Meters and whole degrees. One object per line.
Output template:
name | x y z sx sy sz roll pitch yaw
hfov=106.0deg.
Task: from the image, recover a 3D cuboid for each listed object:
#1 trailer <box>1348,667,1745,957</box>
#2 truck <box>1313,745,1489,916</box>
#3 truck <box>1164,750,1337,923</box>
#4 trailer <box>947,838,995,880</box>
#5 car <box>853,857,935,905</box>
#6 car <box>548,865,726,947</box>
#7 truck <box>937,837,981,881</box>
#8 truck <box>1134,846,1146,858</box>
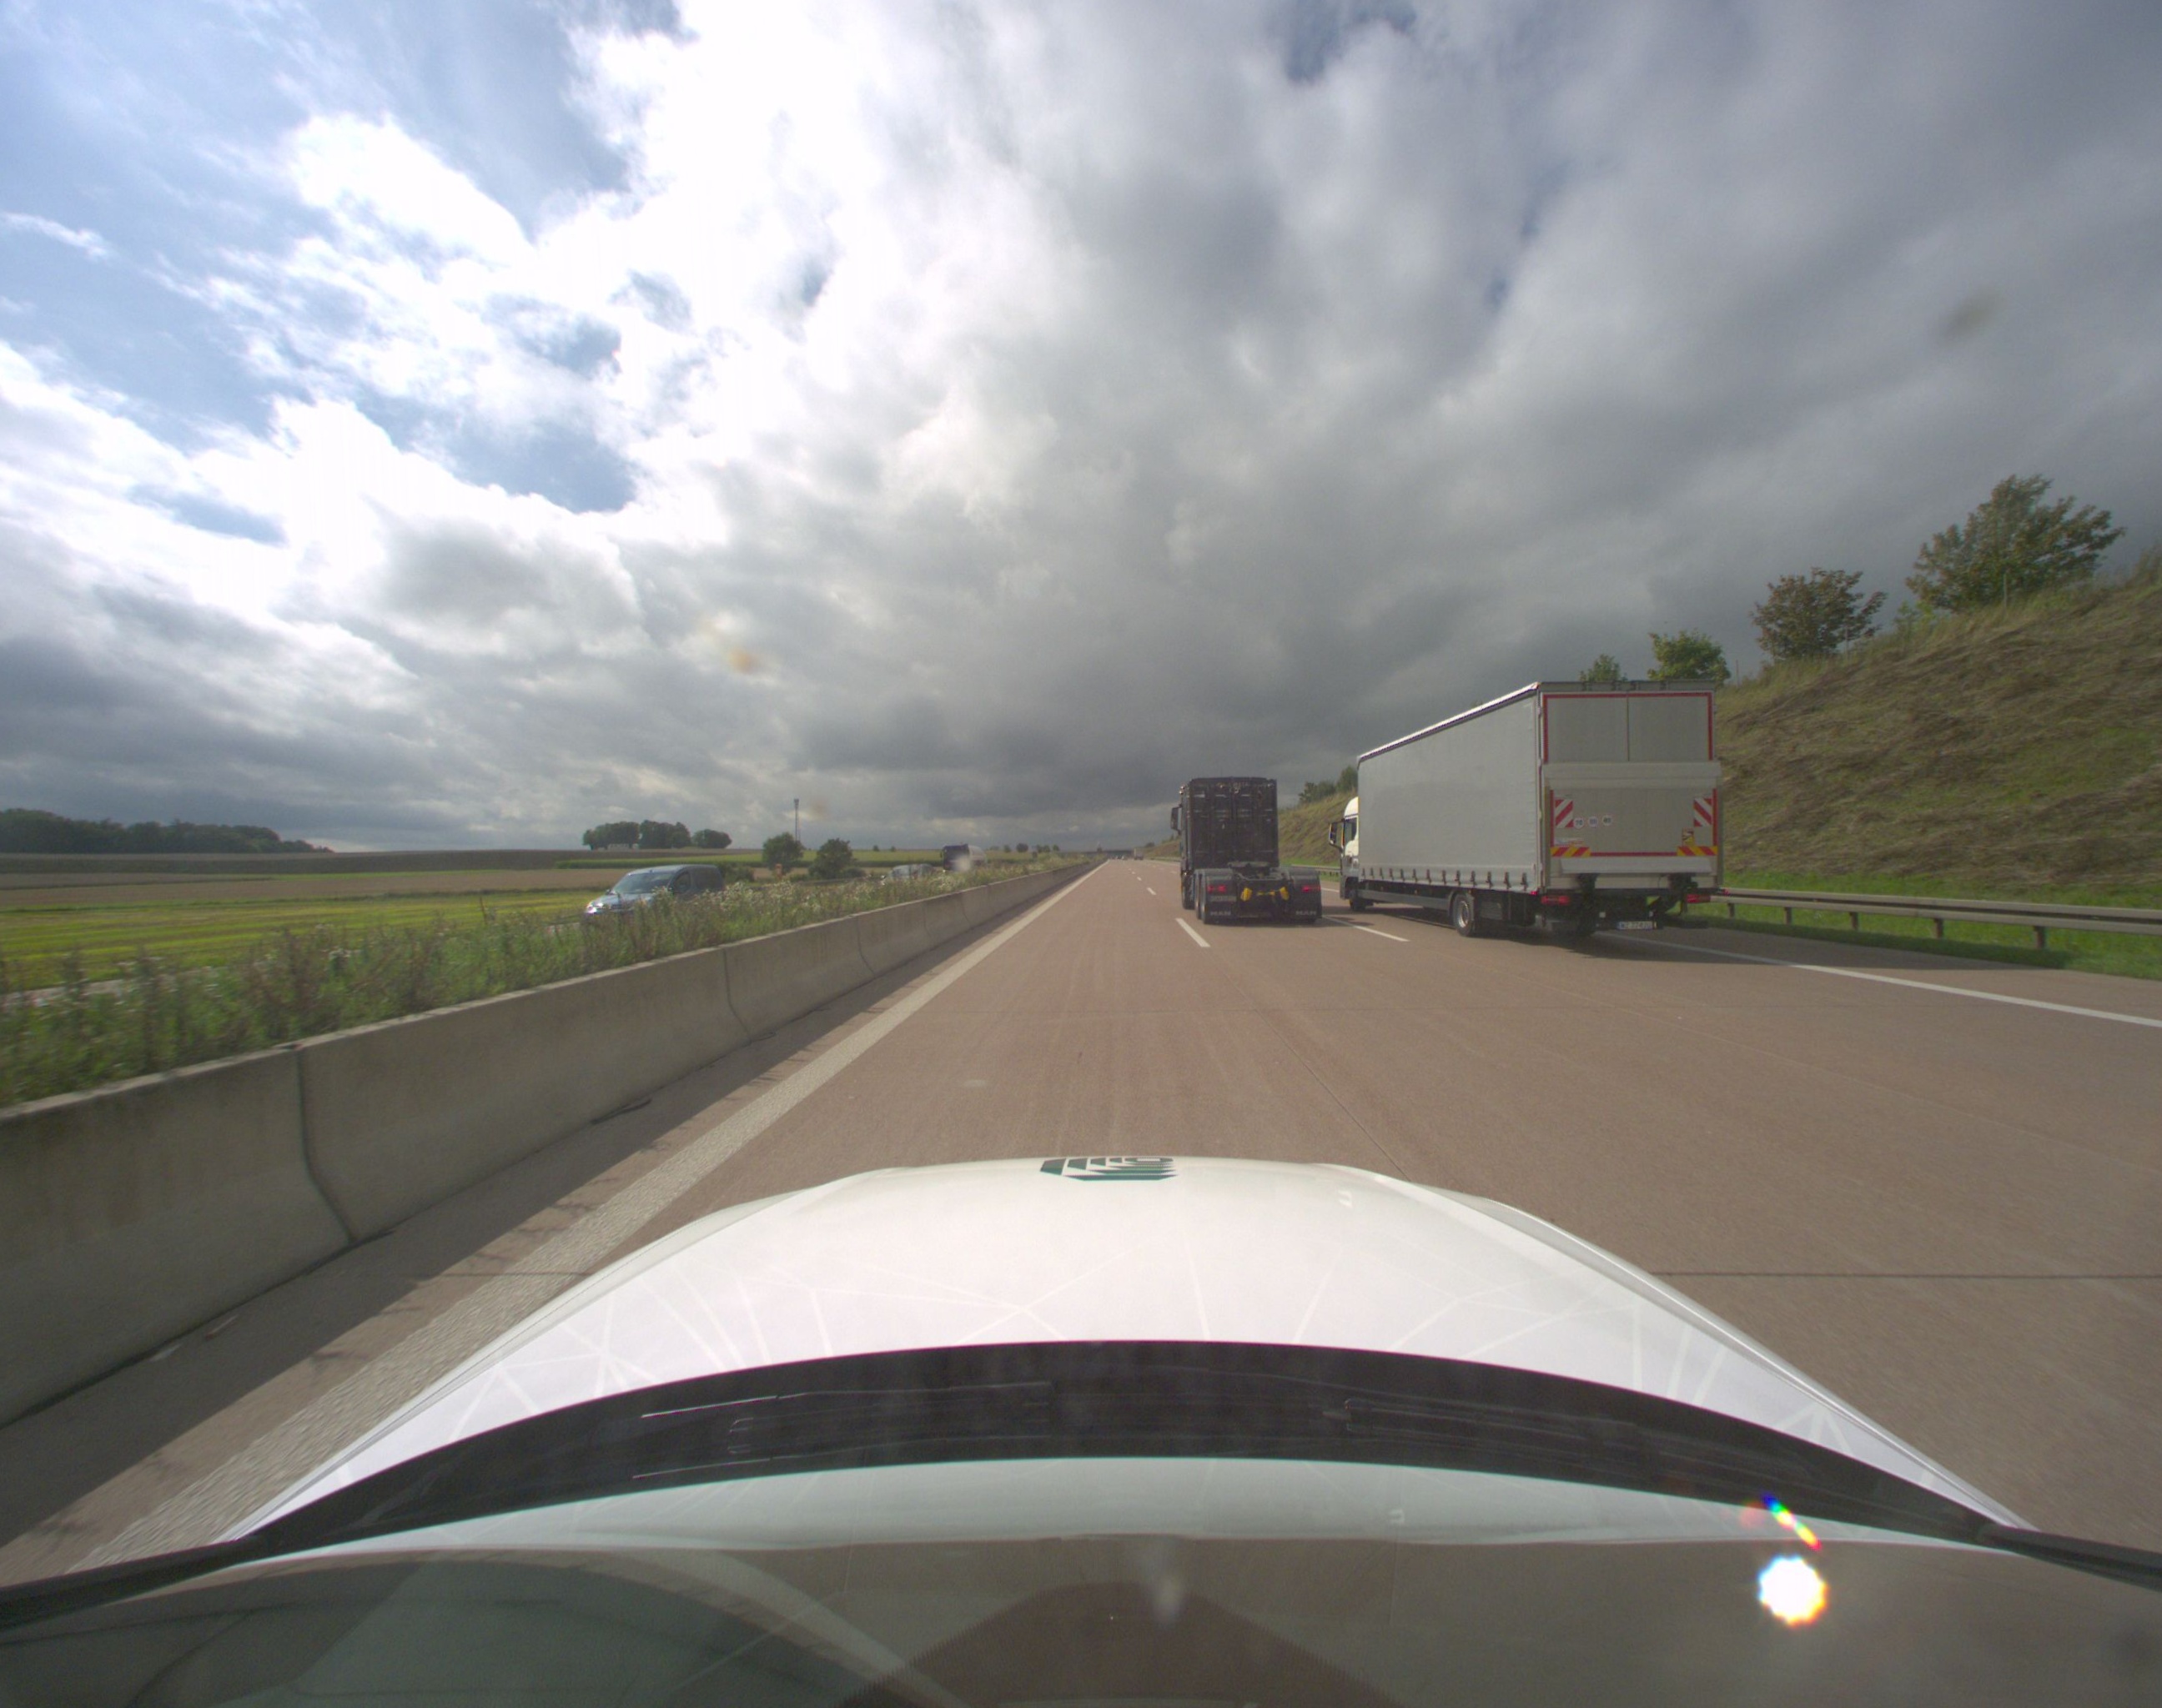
trailer | 7.878 -0.563 15.635 2.738 4.012 8.671 0 0 1
truck | 7.949 -0.529 20.871 2.739 3.892 4.546 0 -1 0
truck | 3.913 -0.332 20.917 2.837 3.550 8.320 0 0 1
trailer | -11.854 0.491 88.767 2.879 4.098 11.046 -3 0 3
car | -7.363 1.009 32.540 1.986 1.699 4.600 -3 0 2
car | -10.996 1.220 20.603 1.986 1.699 4.258 -3 0 2
truck | -12.229 0.512 82.307 2.879 4.098 6.340 -3 0 3
truck | 18.905 -0.681 261.788 3.602 3.945 11.183 0 0 3
